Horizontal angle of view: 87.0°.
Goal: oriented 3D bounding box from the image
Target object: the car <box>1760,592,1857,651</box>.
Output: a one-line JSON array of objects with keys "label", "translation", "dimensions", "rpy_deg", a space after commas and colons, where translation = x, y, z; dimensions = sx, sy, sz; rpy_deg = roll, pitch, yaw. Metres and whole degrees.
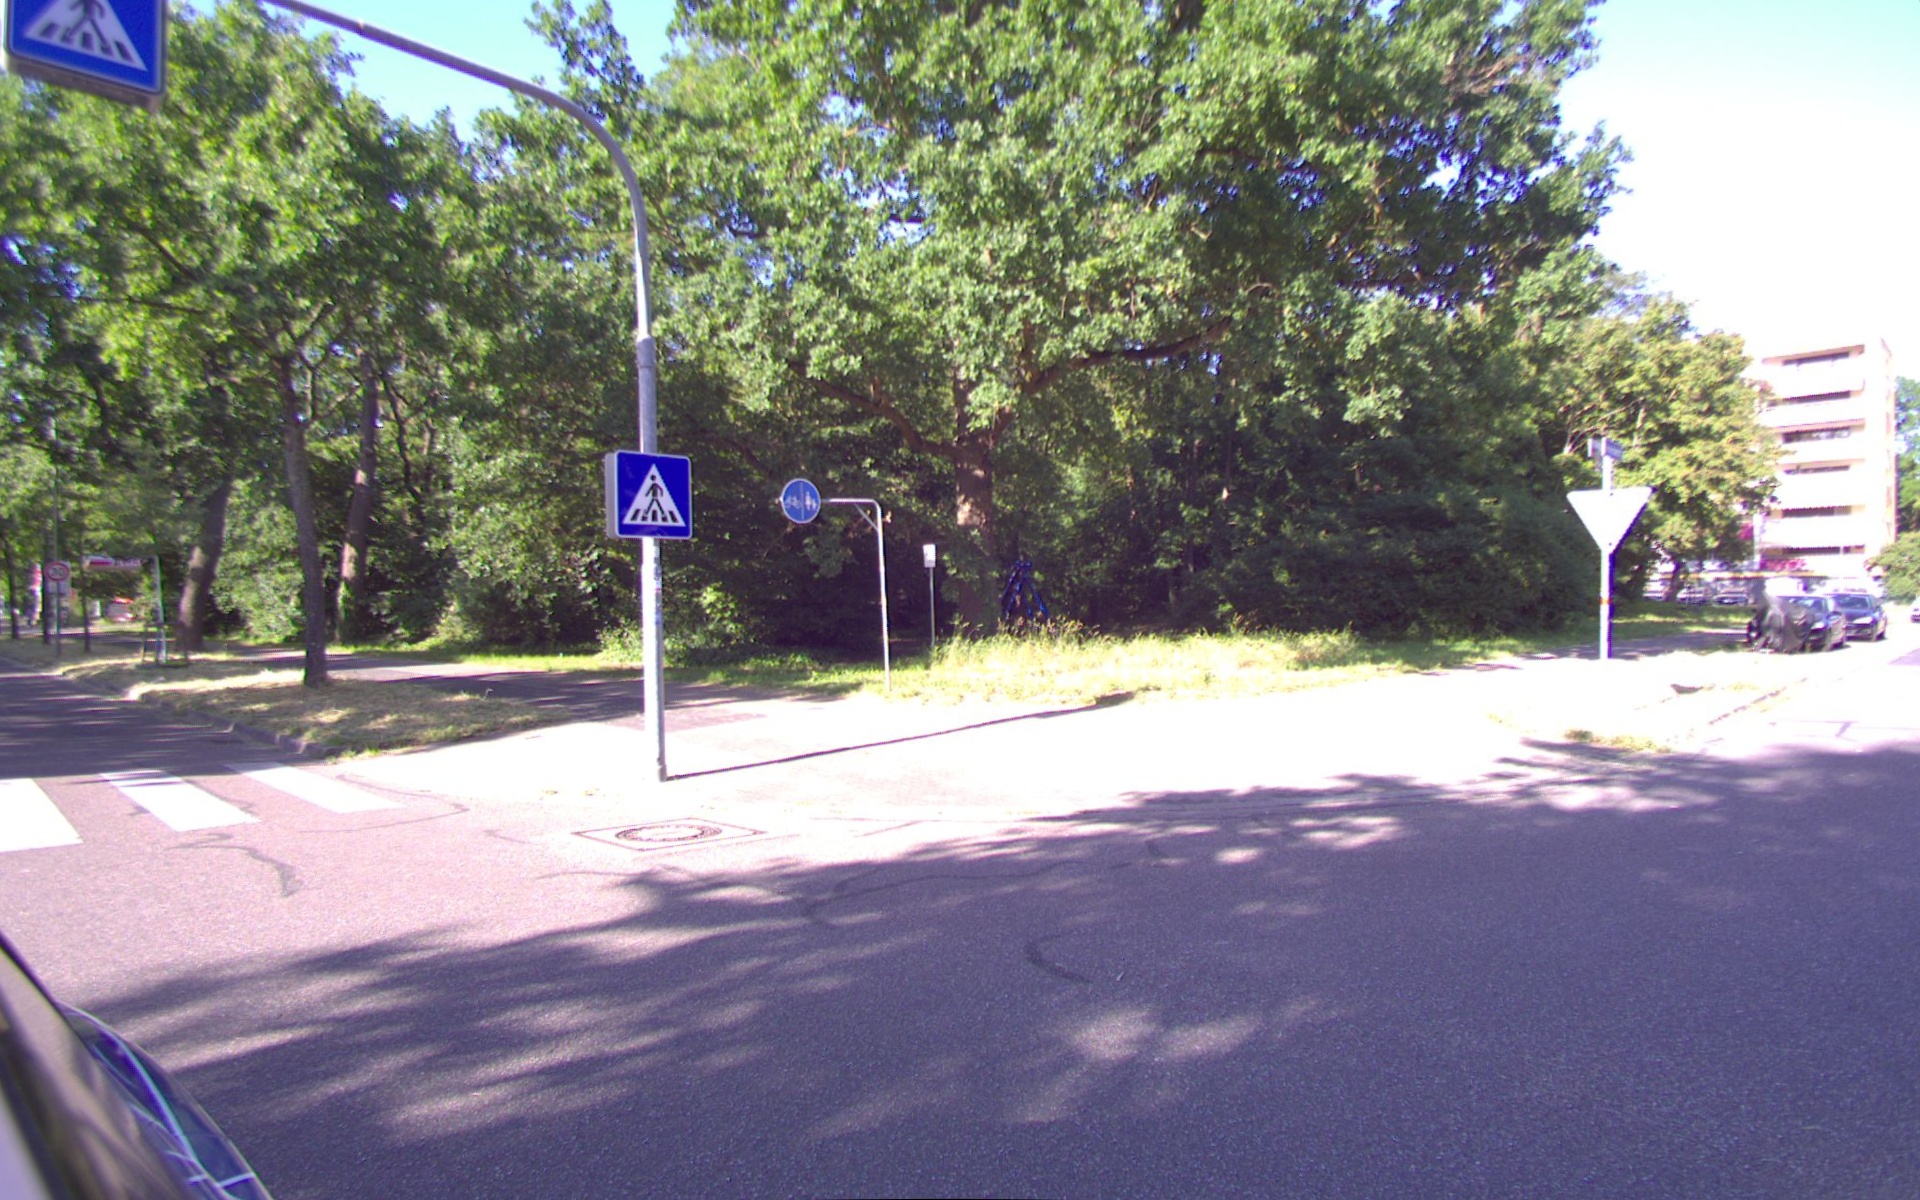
[{"label": "car", "translation": [22.144, 0.517, 26.373], "dimensions": [3.535, 1.402, 1.561], "rpy_deg": [-1, 0, -44]}]

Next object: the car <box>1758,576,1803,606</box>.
[{"label": "car", "translation": [51.670, -0.576, 63.710], "dimensions": [3.779, 1.757, 1.764], "rpy_deg": [-1, 0, -44]}]

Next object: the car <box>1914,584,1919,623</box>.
[{"label": "car", "translation": [41.436, 0.112, 42.597], "dimensions": [3.779, 1.569, 1.647], "rpy_deg": [-1, 0, -44]}]

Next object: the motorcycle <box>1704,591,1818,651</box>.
[{"label": "motorcycle", "translation": [18.676, 0.485, 23.652], "dimensions": [1.944, 1.354, 0.672], "rpy_deg": [-1, 0, 16]}]

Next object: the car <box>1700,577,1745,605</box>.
[{"label": "car", "translation": [49.876, -0.596, 66.174], "dimensions": [3.779, 1.757, 1.764], "rpy_deg": [-1, 0, -44]}]

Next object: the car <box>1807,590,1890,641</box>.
[{"label": "car", "translation": [26.698, 0.442, 30.365], "dimensions": [3.535, 1.402, 1.561], "rpy_deg": [-1, 0, -44]}]

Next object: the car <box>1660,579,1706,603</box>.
[{"label": "car", "translation": [48.189, -0.614, 67.397], "dimensions": [3.779, 1.538, 1.802], "rpy_deg": [-1, 0, -44]}]
